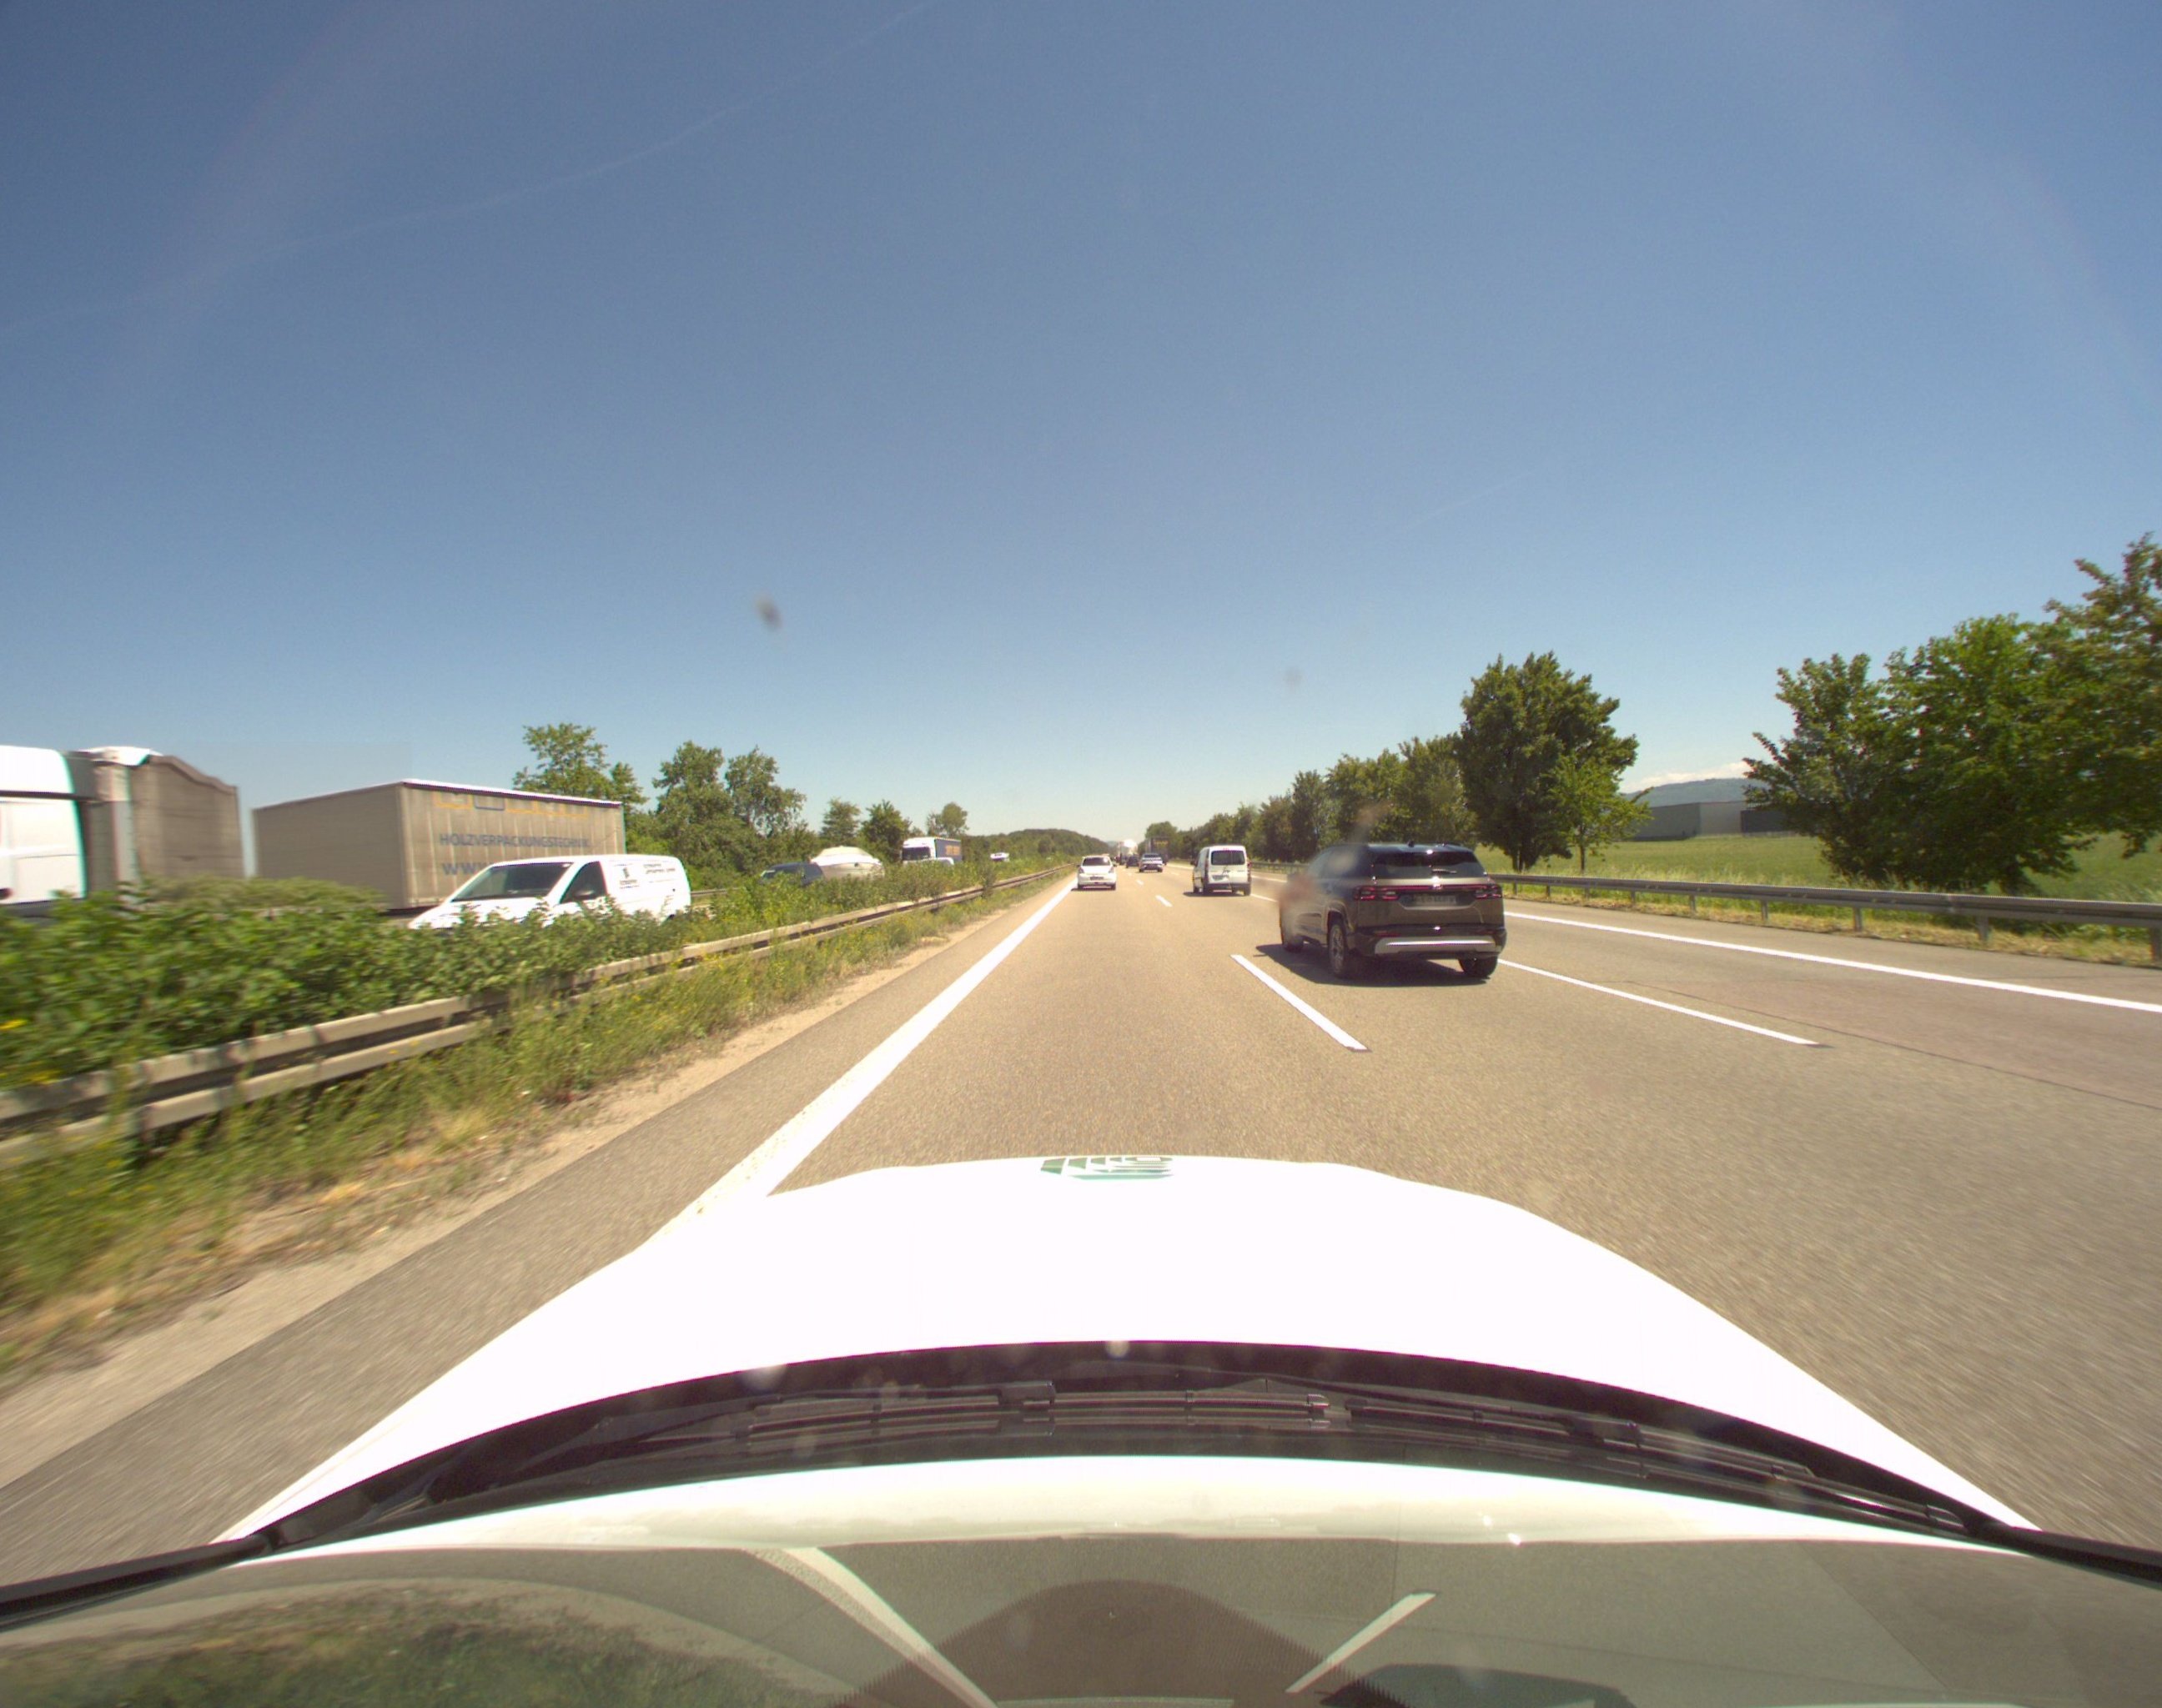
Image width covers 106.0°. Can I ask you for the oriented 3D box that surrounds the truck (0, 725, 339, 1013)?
[{"bbox_3d":[-16.645,0.304,13.453,2.747,4.103,6.155,-4,-1,2],"label":"truck"}]

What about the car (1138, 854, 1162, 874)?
[{"bbox_3d":[5.854,0.826,69.093,1.795,1.603,4.382,0,0,2],"label":"car"}]

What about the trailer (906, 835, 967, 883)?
[{"bbox_3d":[-14.157,0.654,81.088,2.966,4.212,13.739,-3,-2,2],"label":"trailer"}]

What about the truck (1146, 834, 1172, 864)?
[{"bbox_3d":[11.459,-0.615,121.464,3.096,4.139,15.521,0,0,3],"label":"truck"}]

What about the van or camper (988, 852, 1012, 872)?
[{"bbox_3d":[-13.058,1.288,131.518,2.839,2.969,7.449,-4,0,2],"label":"van or camper"}]

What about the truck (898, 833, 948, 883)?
[{"bbox_3d":[-14.372,0.438,74.459,2.995,4.212,6.313,-3,-2,2],"label":"truck"}]

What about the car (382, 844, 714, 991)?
[{"bbox_3d":[-8.595,0.893,13.995,1.986,2.031,5.492,0,0,1],"label":"car"}]

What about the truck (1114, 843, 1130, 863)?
[{"bbox_3d":[8.889,-0.131,175.536,3.381,4.214,12.091,0,0,3],"label":"truck"}]

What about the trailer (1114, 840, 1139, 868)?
[{"bbox_3d":[7.056,0.027,127.471,2.903,4.069,12.410,0,0,-1],"label":"trailer"}]

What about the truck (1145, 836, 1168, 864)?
[{"bbox_3d":[11.706,-0.616,126.499,3.096,4.139,8.061,0,0,3],"label":"truck"}]

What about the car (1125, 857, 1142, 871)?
[{"bbox_3d":[5.923,1.155,92.525,1.843,1.523,3.958,0,0,2],"label":"car"}]

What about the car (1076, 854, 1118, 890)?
[{"bbox_3d":[0.706,0.774,36.727,1.793,1.552,3.610,0,0,1],"label":"car"}]

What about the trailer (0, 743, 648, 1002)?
[{"bbox_3d":[-16.391,0.339,20.488,2.746,4.103,14.059,-4,0,2],"label":"trailer"}]

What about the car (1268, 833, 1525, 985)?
[{"bbox_3d":[4.030,0.625,11.377,1.860,1.675,4.747,0,0,2],"label":"car"}]

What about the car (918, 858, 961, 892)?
[{"bbox_3d":[-9.086,1.303,52.668,1.987,2.073,4.712,0,0,0],"label":"car"}]

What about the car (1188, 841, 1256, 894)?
[{"bbox_3d":[5.259,0.487,30.969,1.847,1.863,4.702,0,0,1],"label":"car"}]
